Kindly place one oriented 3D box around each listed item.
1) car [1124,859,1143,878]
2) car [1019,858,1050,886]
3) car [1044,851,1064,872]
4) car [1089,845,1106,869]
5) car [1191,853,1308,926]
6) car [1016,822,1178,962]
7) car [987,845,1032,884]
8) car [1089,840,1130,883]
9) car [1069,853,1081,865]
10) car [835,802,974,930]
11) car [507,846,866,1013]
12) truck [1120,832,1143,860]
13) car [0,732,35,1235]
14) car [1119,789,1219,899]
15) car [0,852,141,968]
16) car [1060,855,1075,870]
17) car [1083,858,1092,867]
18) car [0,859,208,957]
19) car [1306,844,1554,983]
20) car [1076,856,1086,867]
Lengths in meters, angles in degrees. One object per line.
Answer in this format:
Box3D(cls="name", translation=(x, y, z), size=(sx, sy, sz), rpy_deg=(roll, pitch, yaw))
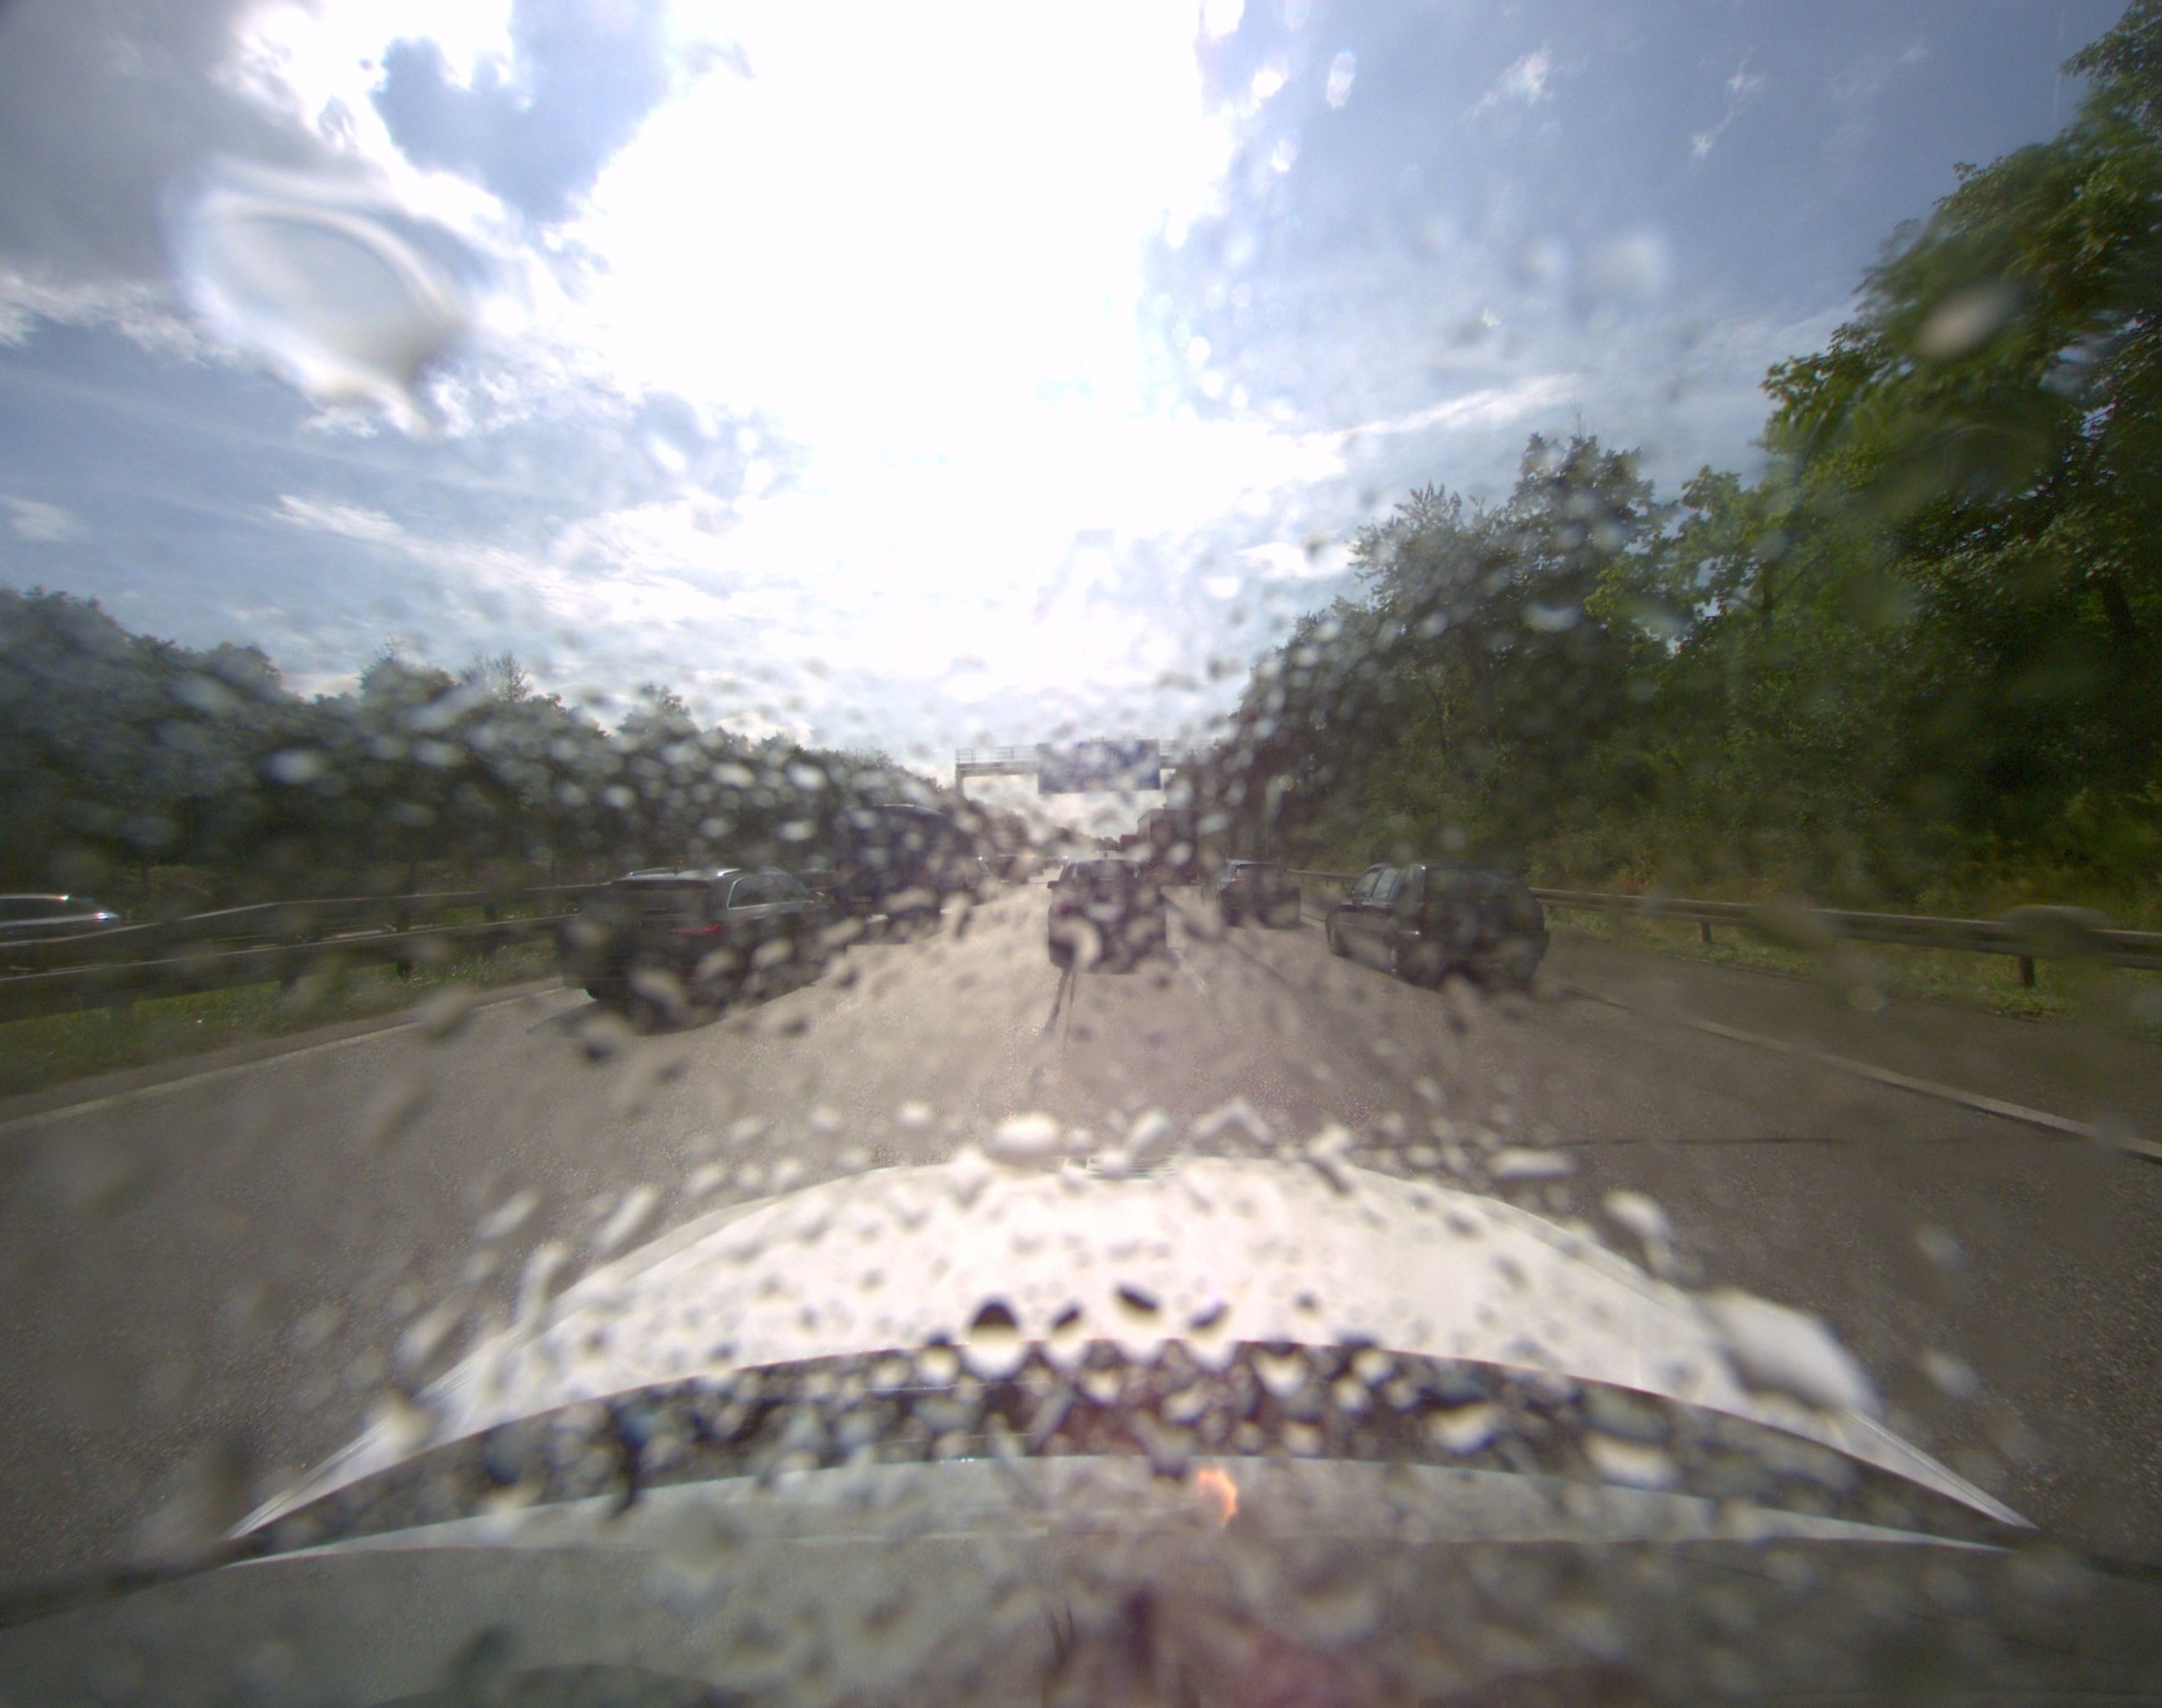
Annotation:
Box3D(cls="car", translation=(5.995, 1.616, 93.559), size=(1.986, 2.115, 4.890), rpy_deg=(0, -1, 2))
Box3D(cls="car", translation=(-3.702, 1.425, 65.653), size=(1.986, 2.115, 4.890), rpy_deg=(0, -1, 2))
Box3D(cls="car", translation=(-3.110, 0.848, 95.795), size=(1.986, 2.385, 5.261), rpy_deg=(0, -1, 2))
Box3D(cls="car", translation=(2.000, 0.404, 96.773), size=(1.986, 2.746, 5.261), rpy_deg=(0, -1, 2))
Box3D(cls="car", translation=(3.800, 0.751, 19.044), size=(1.859, 1.516, 3.974), rpy_deg=(0, -1, -1))
Box3D(cls="car", translation=(0.224, 0.552, 13.915), size=(2.267, 1.954, 4.820), rpy_deg=(0, -1, 0))
Box3D(cls="car", translation=(-3.993, 0.590, 46.213), size=(1.986, 2.115, 4.890), rpy_deg=(0, -1, 2))
Box3D(cls="car", translation=(1.226, 0.330, 36.730), size=(1.687, 1.805, 3.974), rpy_deg=(0, -1, -1))
Box3D(cls="car", translation=(-1.049, 0.854, 143.289), size=(1.986, 2.115, 4.890), rpy_deg=(0, -1, 2))
Box3D(cls="car", translation=(-3.970, 0.265, 19.310), size=(1.986, 2.615, 5.261), rpy_deg=(0, -1, 2))
Box3D(cls="car", translation=(-4.347, 0.732, 10.053), size=(1.986, 1.565, 4.758), rpy_deg=(0, -1, 2))
Box3D(cls="truck", translation=(6.588, -1.029, 107.372), size=(2.765, 3.632, 5.919), rpy_deg=(0, -1, 2))
Box3D(cls="car", translation=(-5.480, 0.514, 1.065), size=(1.971, 2.054, 4.758), rpy_deg=(0, -1, 2))
Box3D(cls="car", translation=(5.048, -0.459, 51.462), size=(4.390, 5.830, 16.813), rpy_deg=(0, -1, 0))
Box3D(cls="car", translation=(-17.507, 0.851, 11.639), size=(2.044, 1.775, 5.209), rpy_deg=(0, -1, 1))
Box3D(cls="car", translation=(-1.949, 1.213, 118.576), size=(1.986, 2.115, 4.890), rpy_deg=(0, -1, 2))
Box3D(cls="car", translation=(1.511, 1.975, 187.170), size=(1.986, 2.115, 4.890), rpy_deg=(0, -1, 2))
Box3D(cls="car", translation=(-20.638, 0.998, 15.644), size=(2.044, 1.775, 5.209), rpy_deg=(0, -1, 1))
Box3D(cls="car", translation=(4.412, 0.672, 10.985), size=(1.586, 1.516, 3.974), rpy_deg=(0, -1, -1))
Box3D(cls="car", translation=(-0.028, 1.501, 166.466), size=(1.986, 2.115, 4.890), rpy_deg=(0, -1, 2))
